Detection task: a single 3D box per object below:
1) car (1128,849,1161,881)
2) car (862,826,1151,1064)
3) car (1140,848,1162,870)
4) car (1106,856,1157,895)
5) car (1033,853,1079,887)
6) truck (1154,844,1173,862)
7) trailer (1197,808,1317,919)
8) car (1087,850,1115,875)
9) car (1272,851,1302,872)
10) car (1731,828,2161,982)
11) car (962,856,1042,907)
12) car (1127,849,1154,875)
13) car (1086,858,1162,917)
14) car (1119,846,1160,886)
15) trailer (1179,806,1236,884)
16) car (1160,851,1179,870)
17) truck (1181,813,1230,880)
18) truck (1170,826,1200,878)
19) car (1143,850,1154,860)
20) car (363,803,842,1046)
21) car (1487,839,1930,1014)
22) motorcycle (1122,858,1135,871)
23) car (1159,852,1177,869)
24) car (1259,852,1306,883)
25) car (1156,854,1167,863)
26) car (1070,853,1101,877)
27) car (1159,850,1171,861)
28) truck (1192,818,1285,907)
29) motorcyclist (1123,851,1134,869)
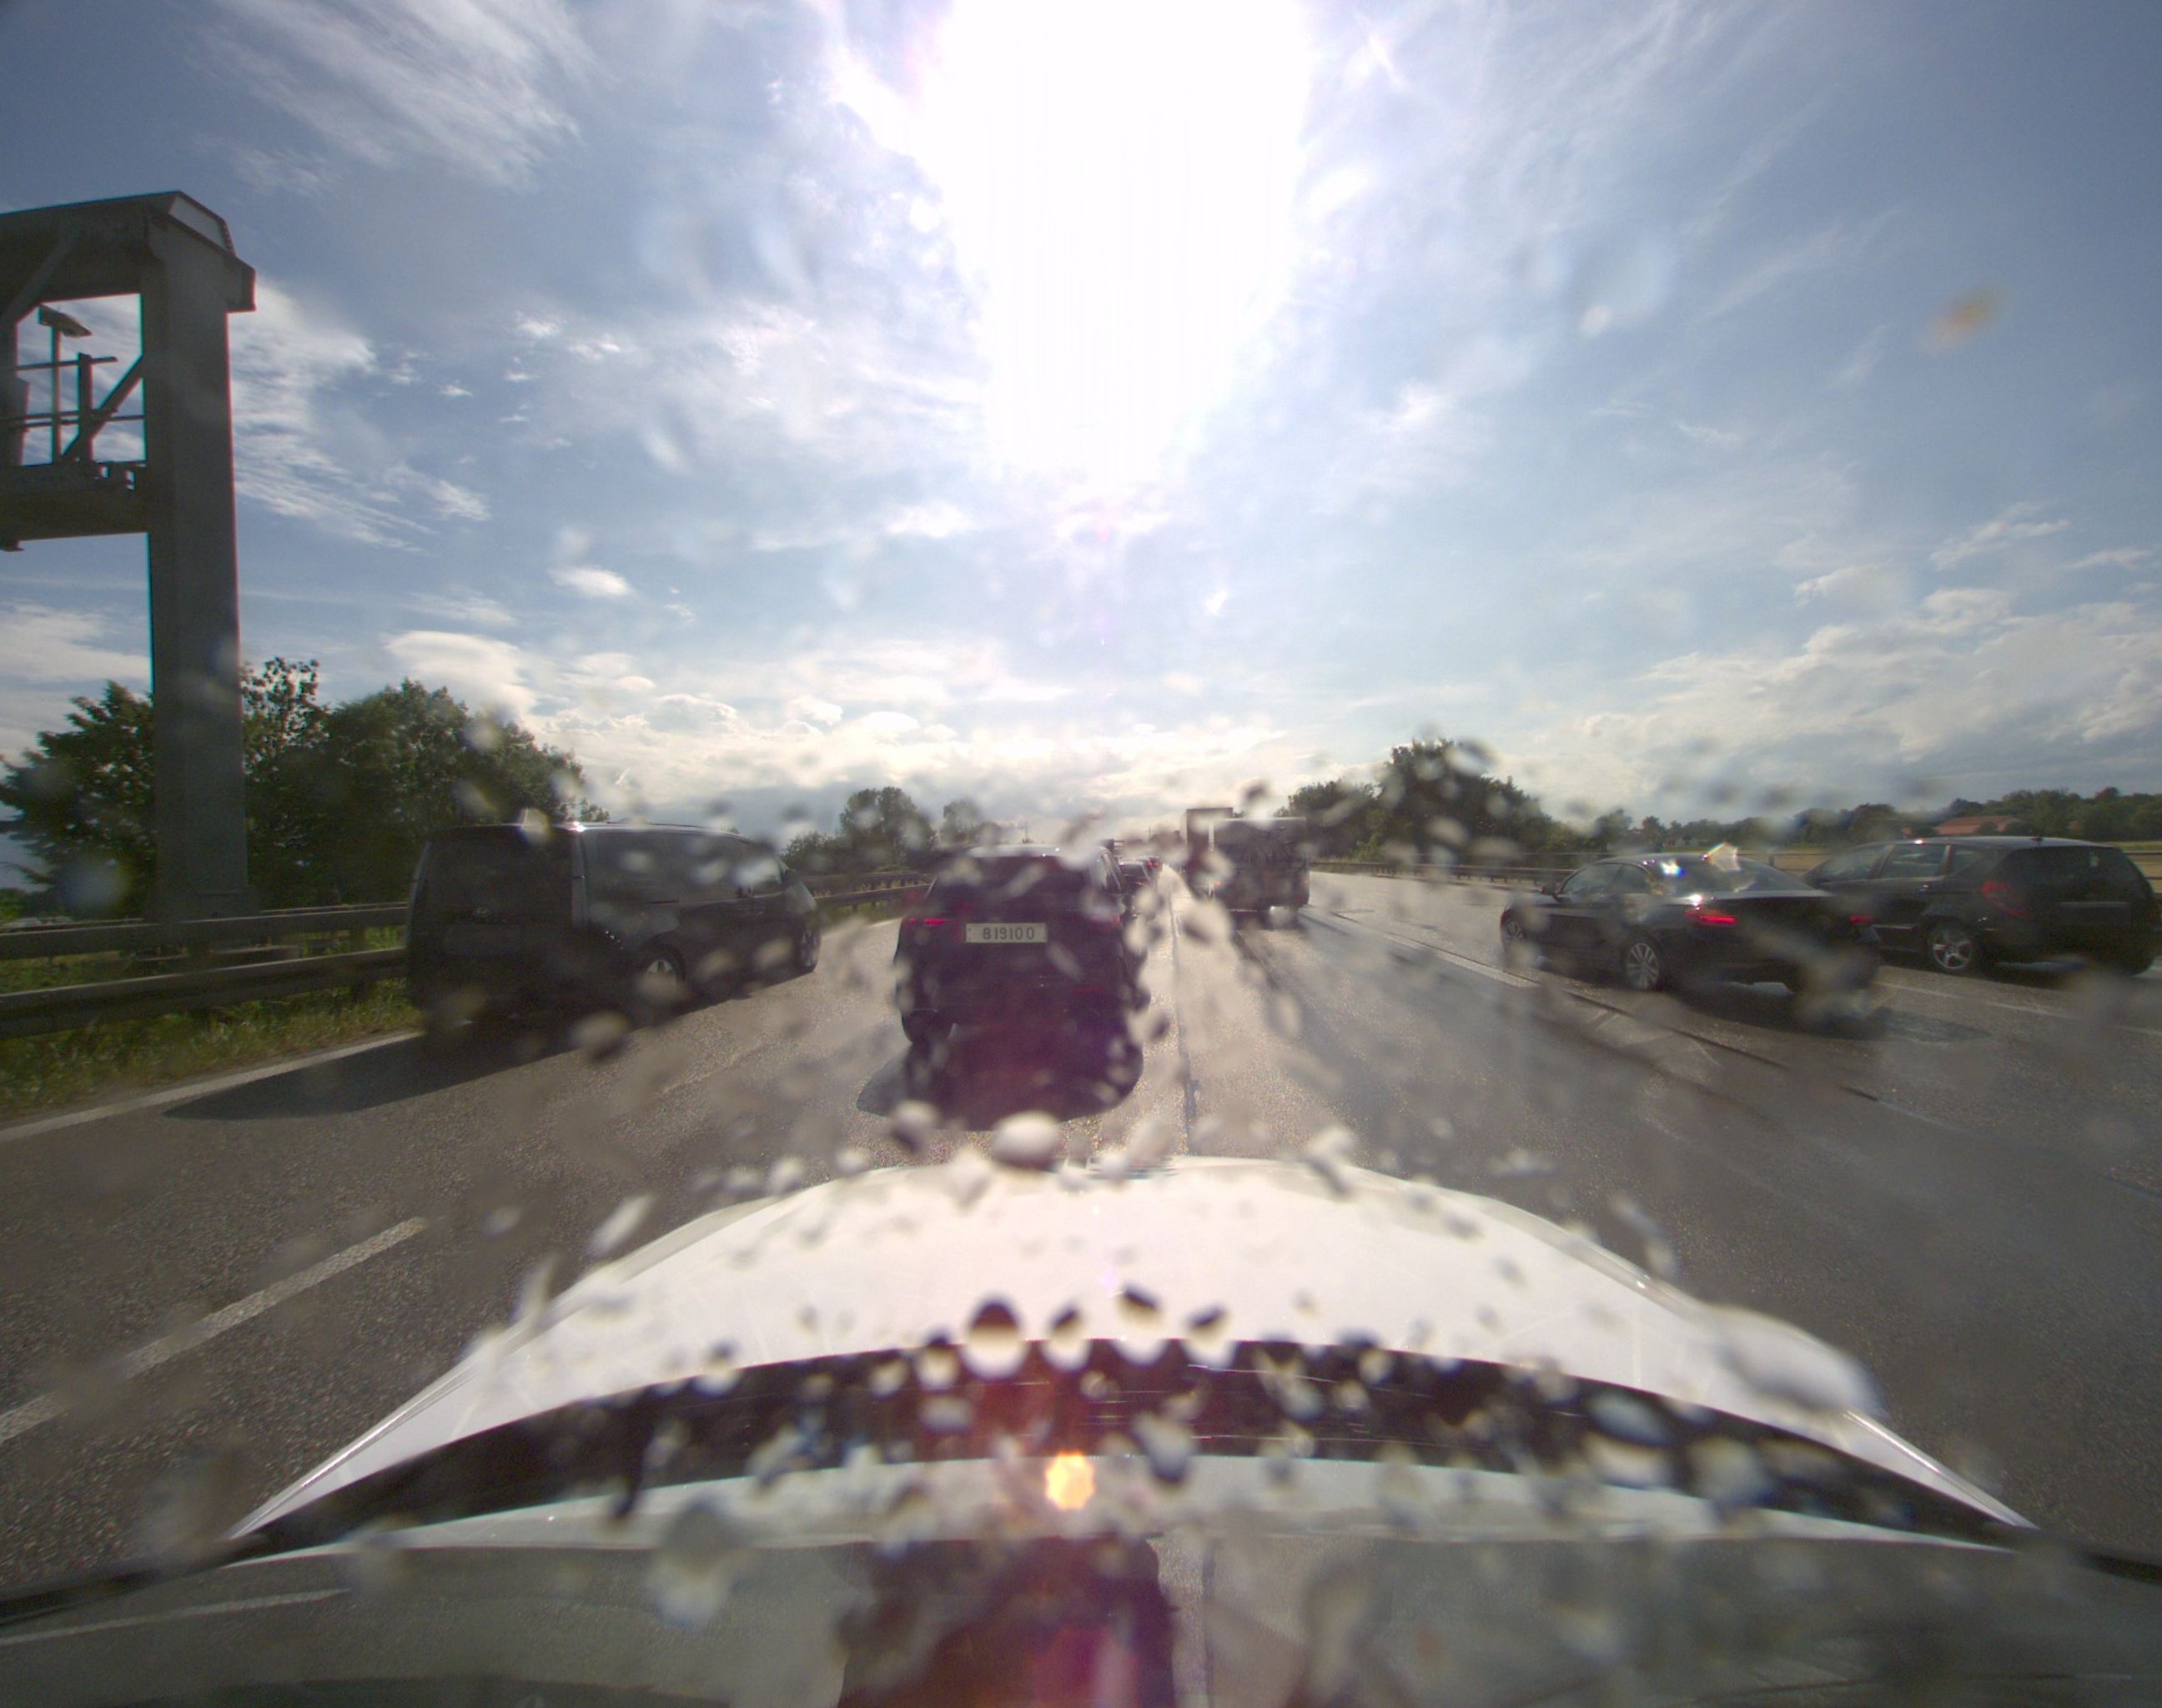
[{"bbox_3d":[4.316,0.703,54.775,1.983,2.013,4.007,2,0,6],"label":"car"},{"bbox_3d":[-0.355,0.668,7.969,1.984,1.661,4.412,-1,-1,6],"label":"car"},{"bbox_3d":[6.708,0.486,77.885,1.983,2.014,4.007,-2,0,6],"label":"car"},{"bbox_3d":[2.017,0.812,31.723,1.797,1.407,4.006,-1,0,6],"label":"car"},{"bbox_3d":[-1.263,0.820,43.280,1.984,1.720,4.005,-1,0,4],"label":"car"},{"bbox_3d":[19.706,-0.238,194.844,3.828,4.017,11.225,-1,0,2],"label":"truck"},{"bbox_3d":[4.403,0.237,21.523,2.362,2.483,6.533,-1,0,6],"label":"trailer"},{"bbox_3d":[1.806,0.716,71.873,1.983,2.013,4.007,2,0,6],"label":"car"},{"bbox_3d":[16.650,0.578,65.961,1.779,1.613,4.392,-1,0,6],"label":"car"},{"bbox_3d":[10.620,0.536,10.316,1.839,1.568,4.006,-1,0,6],"label":"car"},{"bbox_3d":[-2.543,0.850,27.192,1.748,1.516,4.216,-1,0,7],"label":"car"},{"bbox_3d":[4.872,0.620,65.859,1.983,2.014,4.007,-1,0,6],"label":"car"},{"bbox_3d":[1.238,0.824,21.868,1.748,1.387,3.952,-1,0,7],"label":"car"},{"bbox_3d":[3.159,0.627,43.154,1.983,2.014,4.007,-1,0,6],"label":"car"},{"bbox_3d":[7.424,-0.457,48.372,2.990,4.166,8.554,-1,0,8],"label":"trailer"},{"bbox_3d":[9.646,0.723,88.407,1.983,2.013,4.007,0,0,6],"label":"car"},{"bbox_3d":[8.199,-0.445,53.986,2.978,4.166,5.251,-1,0,8],"label":"truck"},{"bbox_3d":[10.063,-0.130,79.525,2.490,4.830,7.552,-1,-1,5],"label":"truck"},{"bbox_3d":[11.648,0.199,140.672,1.868,1.760,4.003,-1,0,3],"label":"car"},{"bbox_3d":[-4.839,0.610,9.498,1.983,2.013,5.279,-1,0,7],"label":"car"},{"bbox_3d":[6.490,0.648,9.190,1.841,1.464,4.258,-2,-1,3],"label":"car"},{"bbox_3d":[4.746,1.003,81.216,1.068,1.271,2.695,-1,0,6],"label":"motorcycle"},{"bbox_3d":[10.547,0.781,98.650,1.983,2.013,4.007,2,0,6],"label":"car"},{"bbox_3d":[10.101,0.647,41.106,1.731,1.420,3.842,-1,0,6],"label":"car"},{"bbox_3d":[15.196,0.834,154.586,1.868,1.760,4.003,-1,0,3],"label":"car"},{"bbox_3d":[0.386,0.823,62.259,1.983,1.772,4.007,-1,0,6],"label":"car"},{"bbox_3d":[13.980,0.316,135.561,1.868,1.760,4.003,-1,0,3],"label":"car"},{"bbox_3d":[4.843,0.260,25.918,2.362,2.477,5.765,-1,0,6],"label":"truck"},{"bbox_3d":[4.739,0.619,81.210,1.058,1.718,0.786,-1,-1,6],"label":"motorcyclist"}]
